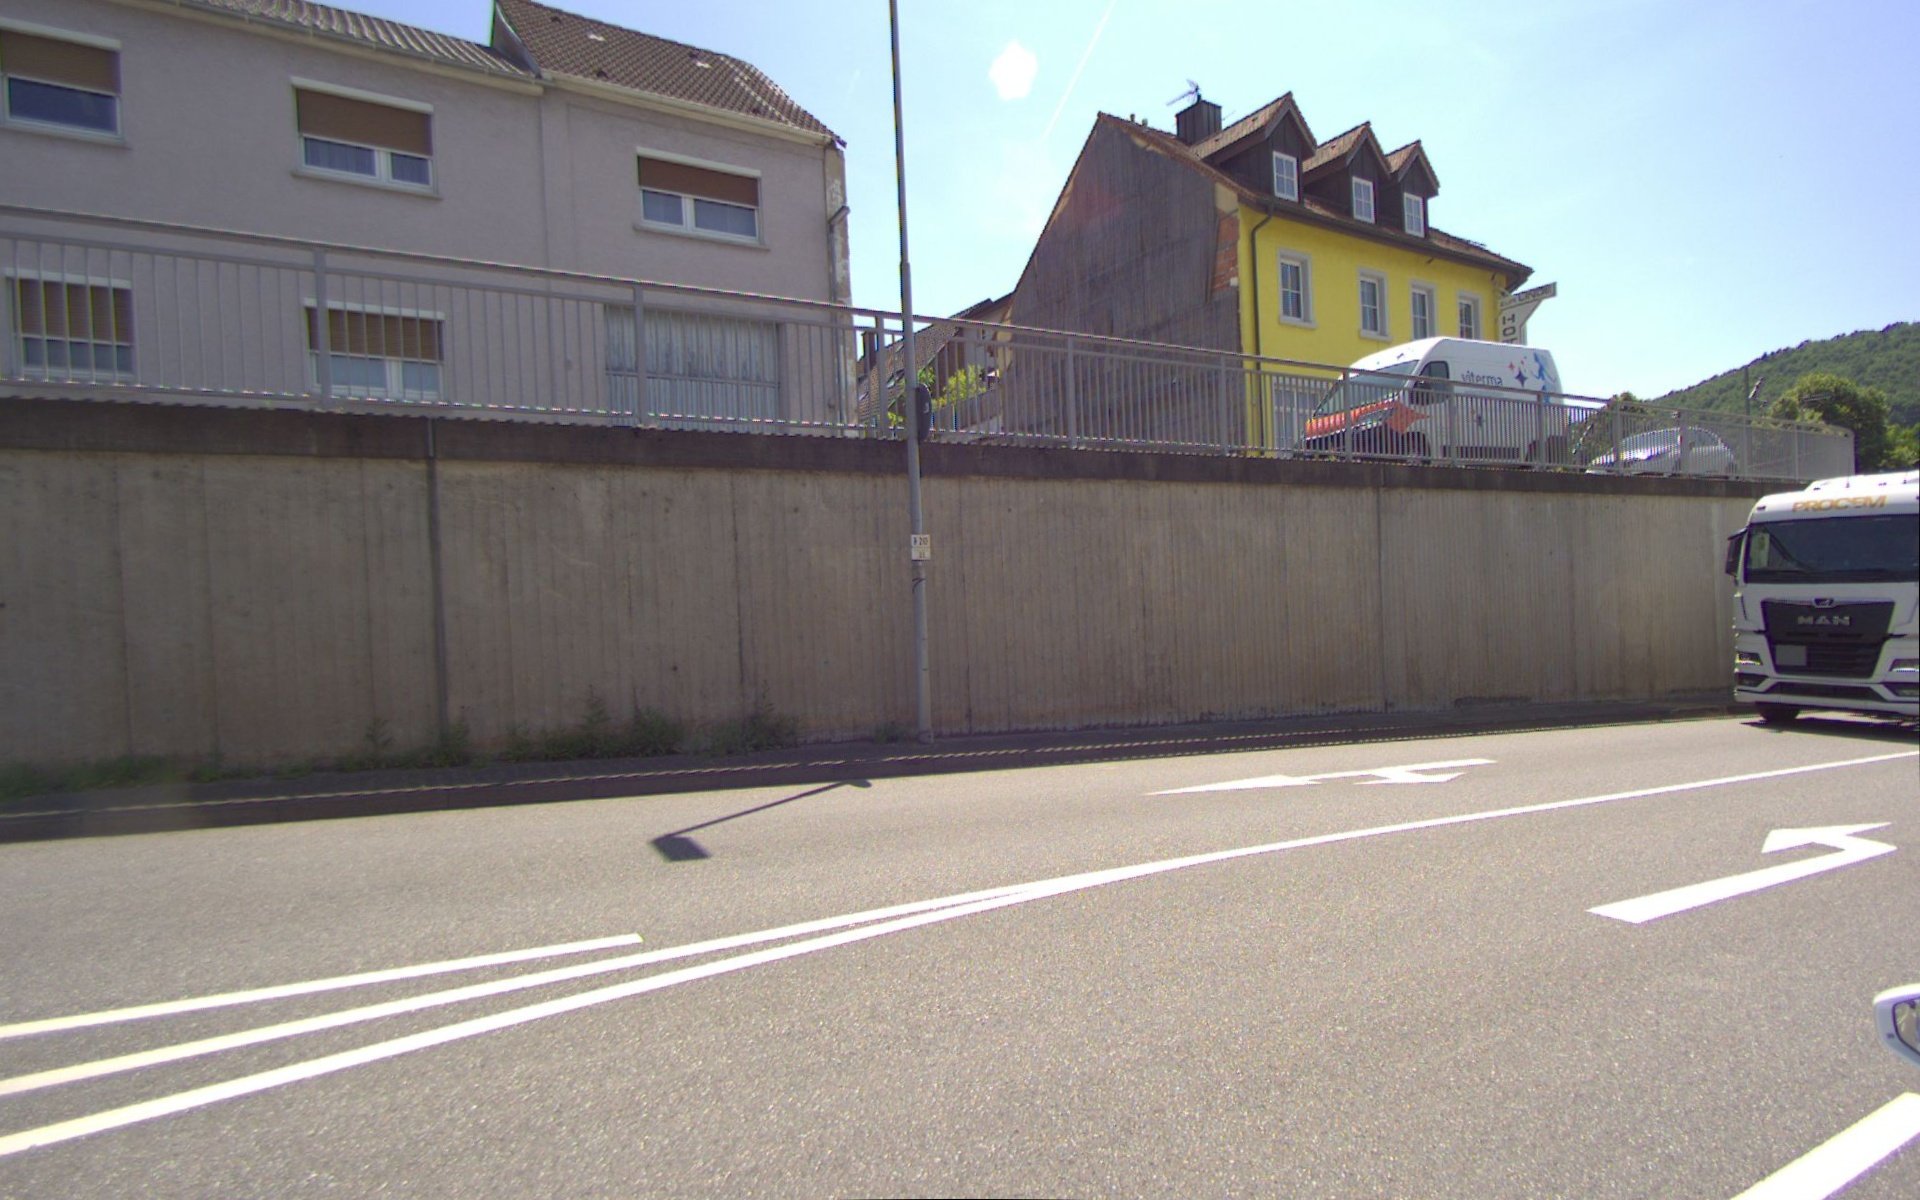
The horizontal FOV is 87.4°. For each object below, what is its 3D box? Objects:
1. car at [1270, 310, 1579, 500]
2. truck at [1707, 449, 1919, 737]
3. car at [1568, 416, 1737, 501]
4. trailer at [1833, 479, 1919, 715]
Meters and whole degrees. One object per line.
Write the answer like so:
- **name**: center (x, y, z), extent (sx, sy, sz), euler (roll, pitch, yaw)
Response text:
- **car**: center (8.118, -3.146, 17.353), extent (5.595, 2.571, 2.055), euler (-2, 2, -31)
- **truck**: center (15.279, -0.016, 16.342), extent (6.502, 3.912, 2.649), euler (2, -1, -30)
- **car**: center (15.254, -3.025, 22.071), extent (3.999, 1.521, 1.610), euler (-2, 2, -32)
- **trailer**: center (20.387, 0.063, 19.314), extent (9.236, 4.017, 2.598), euler (2, -1, -30)
